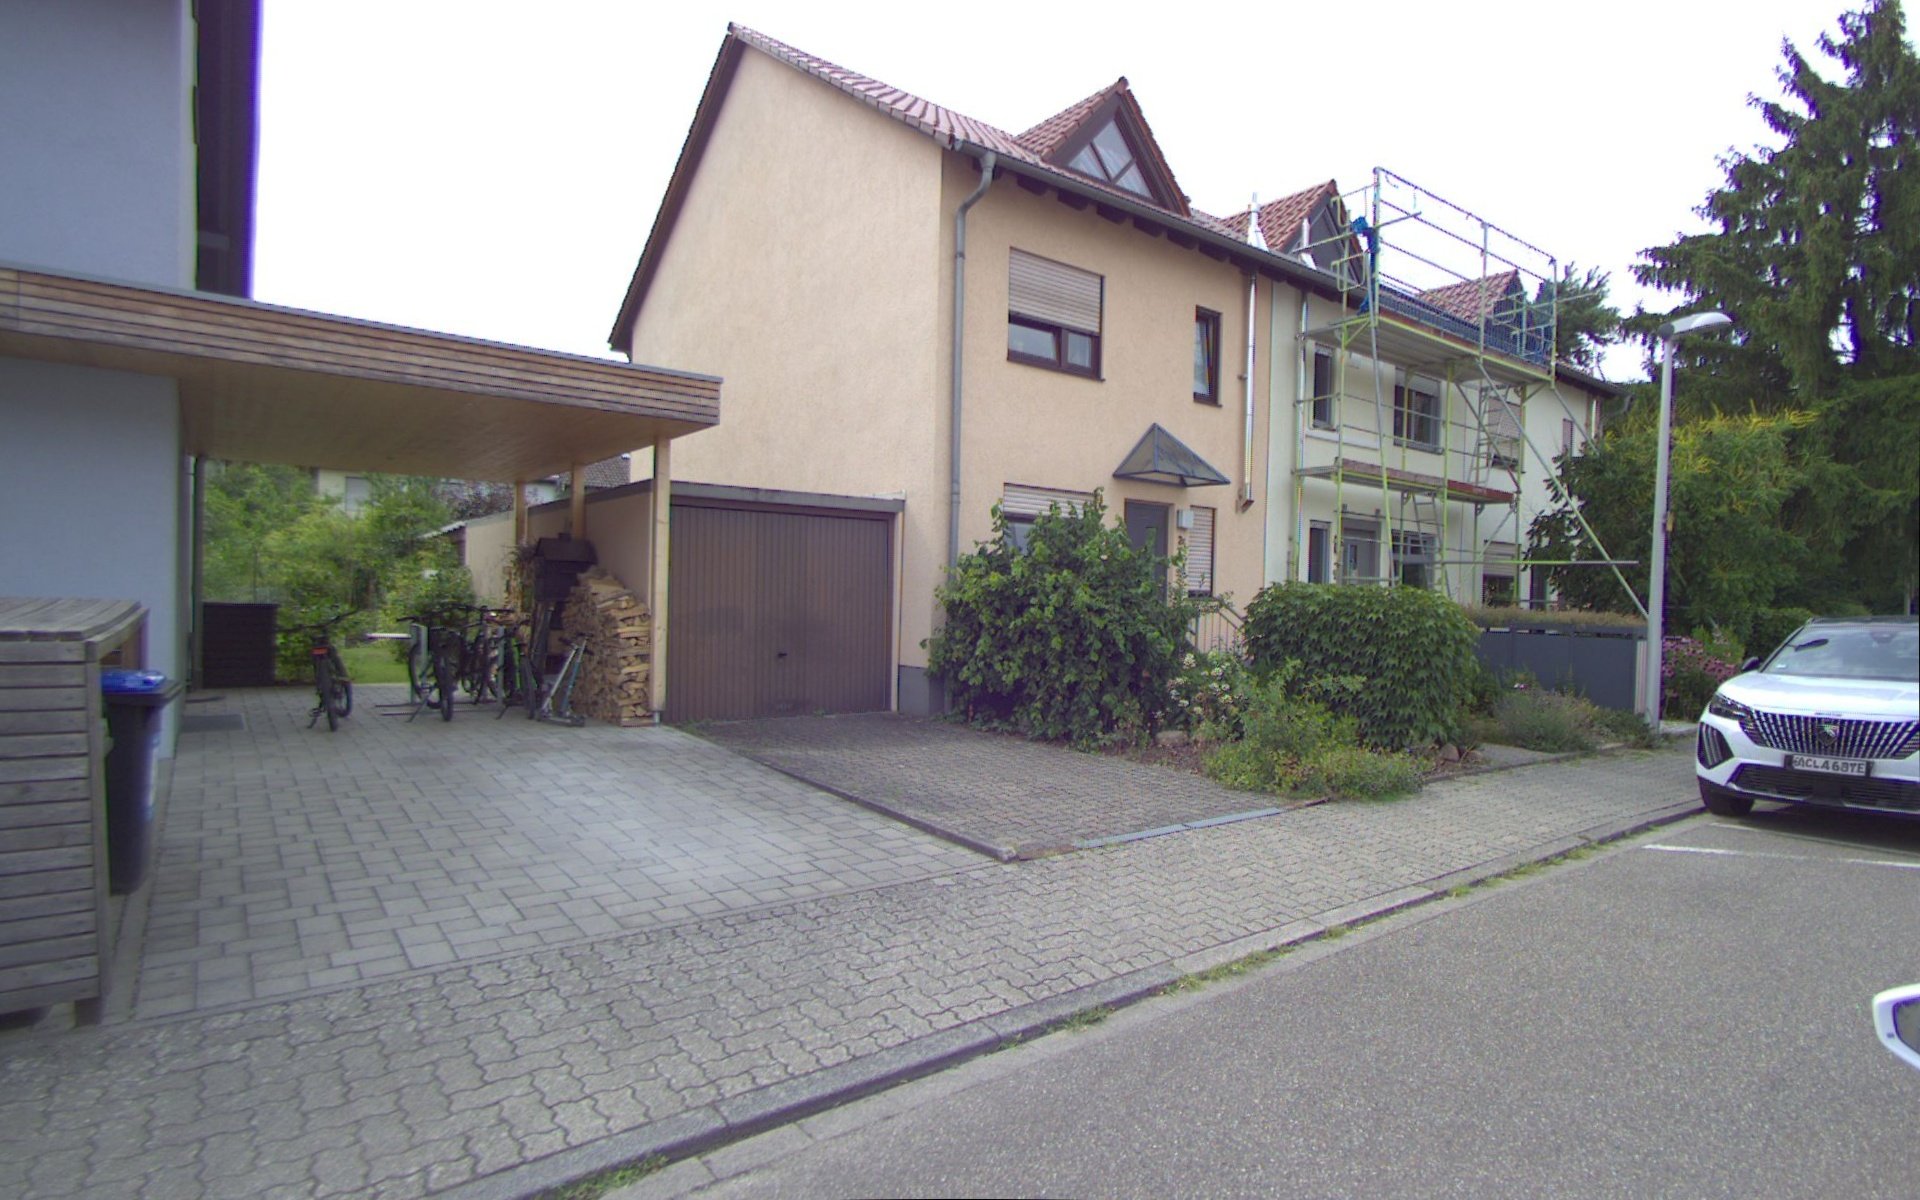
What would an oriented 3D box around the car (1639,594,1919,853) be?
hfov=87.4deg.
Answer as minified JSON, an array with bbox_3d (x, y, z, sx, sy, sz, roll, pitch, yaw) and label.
[{"bbox_3d":[7.362,0.779,7.953,4.591,1.577,1.920,1,0,-37],"label":"car"}]

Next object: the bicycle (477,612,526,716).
[{"bbox_3d":[-4.737,0.613,10.344,0.352,0.965,1.923,1,0,-27],"label":"bicycle"}]

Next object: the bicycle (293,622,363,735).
[{"bbox_3d":[-5.541,0.641,8.862,0.352,0.860,1.923,1,0,-27],"label":"bicycle"}]

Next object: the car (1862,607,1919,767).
[{"bbox_3d":[11.703,0.894,11.076,4.804,1.583,1.796,1,0,-38],"label":"car"}]

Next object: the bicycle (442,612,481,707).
[{"bbox_3d":[-5.621,0.624,11.294,0.352,0.965,1.923,1,0,-27],"label":"bicycle"}]

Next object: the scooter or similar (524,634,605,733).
[{"bbox_3d":[-3.647,0.734,9.216,0.360,0.808,1.293,1,0,-37],"label":"scooter or similar"}]

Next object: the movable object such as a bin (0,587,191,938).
[{"bbox_3d":[-3.869,0.619,4.222,0.992,1.329,0.942,1,0,-38],"label":"movable object such as a bin"}]

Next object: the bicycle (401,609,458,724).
[{"bbox_3d":[-5.160,0.593,9.726,0.353,0.965,1.919,1,0,-32],"label":"bicycle"}]
